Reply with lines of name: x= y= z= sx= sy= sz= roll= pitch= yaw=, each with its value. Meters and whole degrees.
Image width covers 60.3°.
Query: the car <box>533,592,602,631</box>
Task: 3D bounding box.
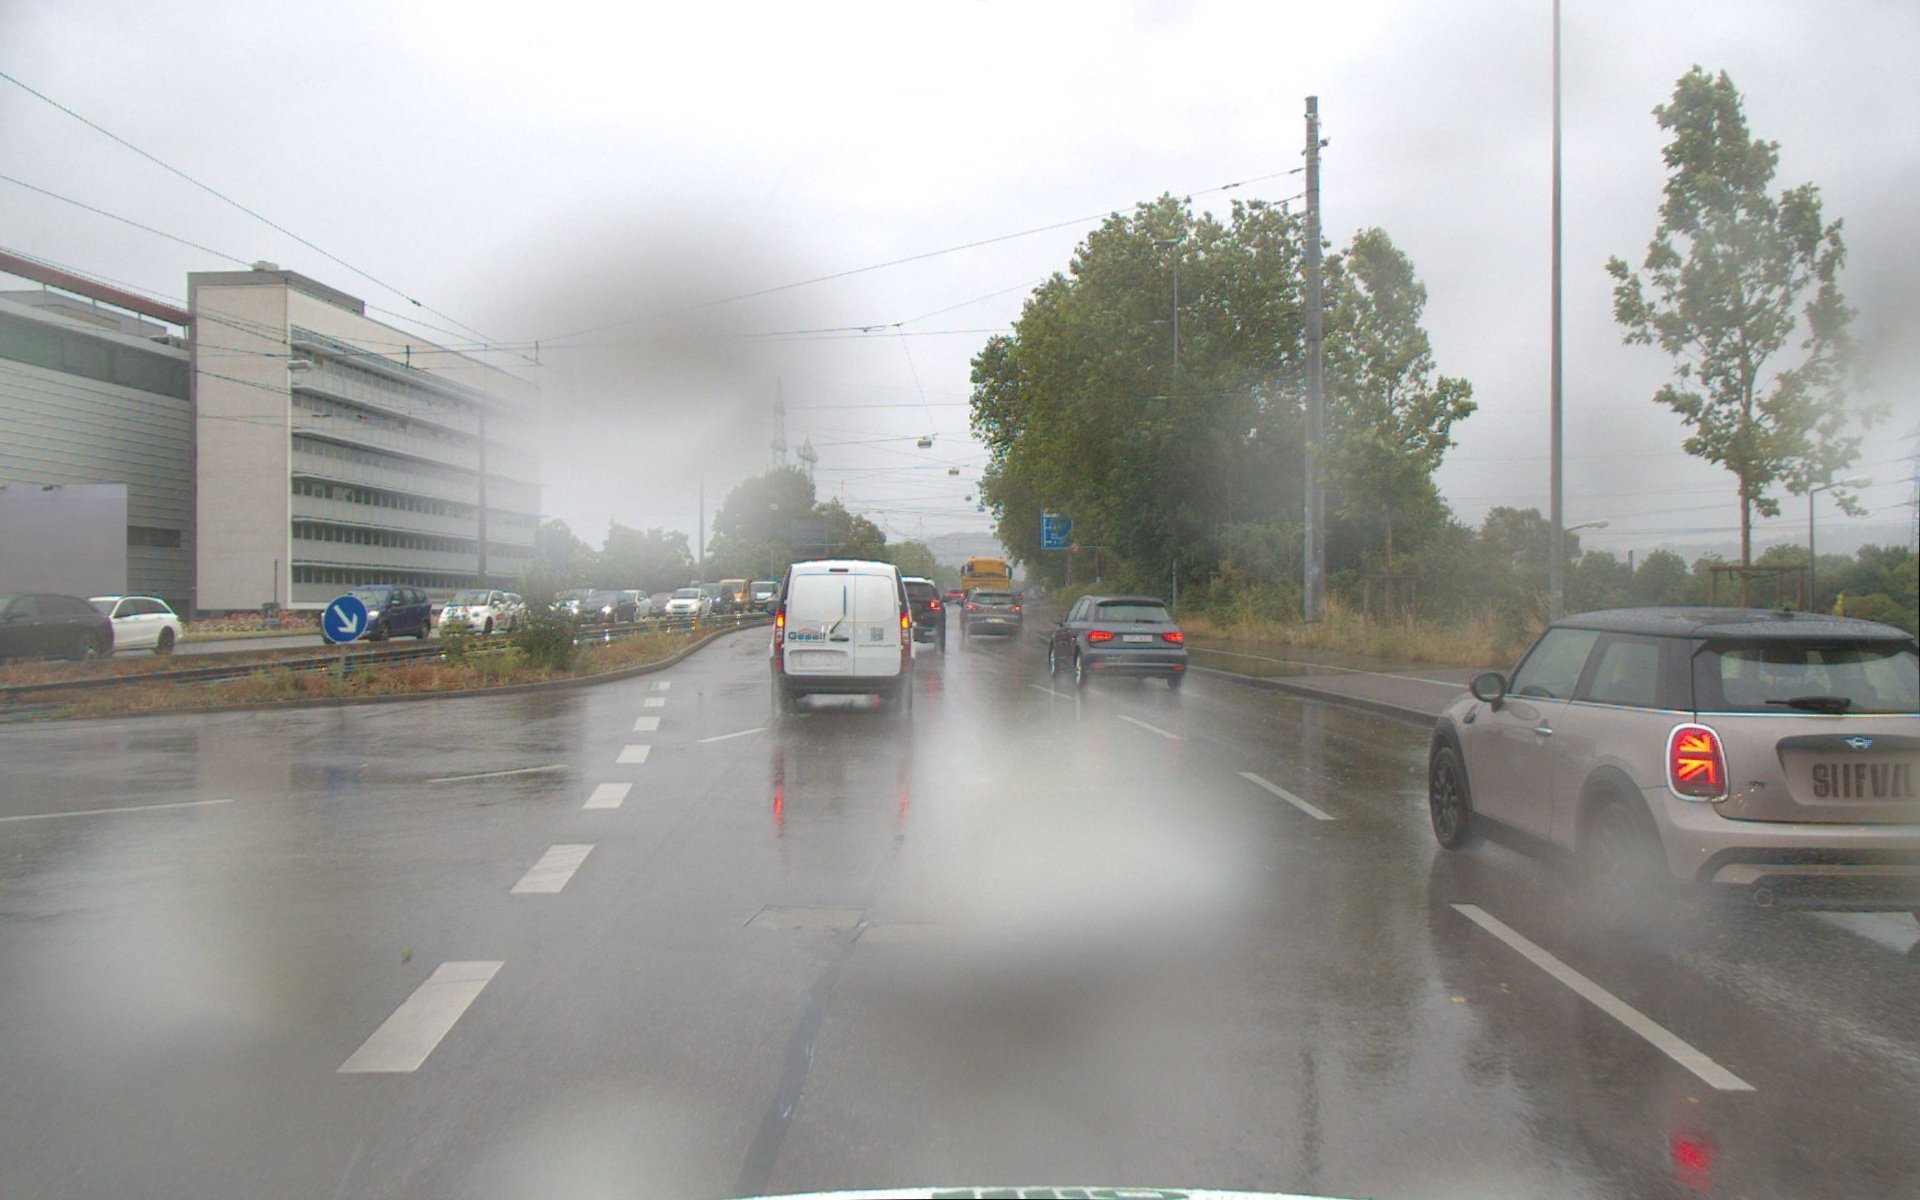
car: x=-18.270 y=0.487 z=77.174 sx=1.868 sy=1.634 sz=4.844 roll=2 pitch=1 yaw=2

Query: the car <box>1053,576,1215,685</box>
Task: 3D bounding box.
car: x=2.646 y=0.411 z=26.048 sx=1.928 sy=1.555 sz=3.989 roll=1 pitch=1 yaw=-3

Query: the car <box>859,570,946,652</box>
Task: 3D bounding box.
car: x=-1.319 y=0.204 z=38.148 sx=1.861 sy=1.746 sz=4.724 roll=1 pitch=1 yaw=-2

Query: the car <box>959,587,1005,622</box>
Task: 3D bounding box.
car: x=0.981 y=0.184 z=72.273 sx=1.780 sy=1.438 sz=3.780 roll=1 pitch=1 yaw=4

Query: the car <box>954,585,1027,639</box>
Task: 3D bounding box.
car: x=0.836 y=0.317 z=47.336 sx=1.782 sy=1.438 sz=3.776 roll=1 pitch=1 yaw=-4

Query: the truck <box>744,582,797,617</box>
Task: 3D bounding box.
truck: x=-14.360 y=-0.047 z=125.778 sx=2.383 sy=2.500 sz=7.224 roll=2 pitch=0 yaw=6

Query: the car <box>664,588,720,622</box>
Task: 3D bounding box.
car: x=-13.852 y=0.214 z=85.724 sx=1.834 sy=1.601 sz=4.331 roll=1 pitch=1 yaw=4

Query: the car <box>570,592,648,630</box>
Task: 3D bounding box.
car: x=-14.963 y=0.432 z=70.774 sx=1.882 sy=1.448 sz=5.087 roll=1 pitch=1 yaw=4

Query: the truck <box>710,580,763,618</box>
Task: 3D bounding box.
truck: x=-15.584 y=-0.080 z=115.477 sx=2.180 sy=2.504 sz=6.071 roll=2 pitch=0 yaw=6

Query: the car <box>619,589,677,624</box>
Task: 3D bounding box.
car: x=-16.905 y=0.349 z=89.785 sx=1.951 sy=1.866 sz=4.695 roll=-1 pitch=0 yaw=4

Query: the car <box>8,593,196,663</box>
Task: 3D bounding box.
car: x=-20.514 y=0.624 z=39.806 sx=1.774 sy=1.461 sz=4.716 roll=1 pitch=1 yaw=4

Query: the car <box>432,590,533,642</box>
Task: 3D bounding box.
car: x=-15.694 y=0.502 z=54.559 sx=1.676 sy=1.562 sz=4.051 roll=1 pitch=1 yaw=8

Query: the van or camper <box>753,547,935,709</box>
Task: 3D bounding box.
van or camper: x=-1.364 y=0.267 z=20.948 sx=1.952 sy=1.815 sz=4.001 roll=1 pitch=1 yaw=0

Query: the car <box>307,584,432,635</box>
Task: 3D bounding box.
car: x=-16.611 y=0.239 z=46.773 sx=1.676 sy=1.271 sz=4.464 roll=1 pitch=1 yaw=4

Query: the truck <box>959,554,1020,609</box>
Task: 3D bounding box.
truck: x=1.642 y=-1.004 z=88.742 sx=3.048 sy=2.821 sz=6.331 roll=0 pitch=0 yaw=3

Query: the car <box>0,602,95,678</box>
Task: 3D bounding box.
car: x=-17.878 y=0.732 z=30.160 sx=1.676 sy=1.271 sz=4.051 roll=1 pitch=1 yaw=8

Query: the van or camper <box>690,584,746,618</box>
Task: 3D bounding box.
van or camper: x=-15.597 y=0.057 z=106.723 sx=2.256 sy=2.049 sz=5.689 roll=2 pitch=0 yaw=5

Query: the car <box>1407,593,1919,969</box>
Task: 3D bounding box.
car: x=3.716 y=0.723 z=8.541 sx=1.754 sy=1.438 sz=3.854 roll=1 pitch=1 yaw=0
